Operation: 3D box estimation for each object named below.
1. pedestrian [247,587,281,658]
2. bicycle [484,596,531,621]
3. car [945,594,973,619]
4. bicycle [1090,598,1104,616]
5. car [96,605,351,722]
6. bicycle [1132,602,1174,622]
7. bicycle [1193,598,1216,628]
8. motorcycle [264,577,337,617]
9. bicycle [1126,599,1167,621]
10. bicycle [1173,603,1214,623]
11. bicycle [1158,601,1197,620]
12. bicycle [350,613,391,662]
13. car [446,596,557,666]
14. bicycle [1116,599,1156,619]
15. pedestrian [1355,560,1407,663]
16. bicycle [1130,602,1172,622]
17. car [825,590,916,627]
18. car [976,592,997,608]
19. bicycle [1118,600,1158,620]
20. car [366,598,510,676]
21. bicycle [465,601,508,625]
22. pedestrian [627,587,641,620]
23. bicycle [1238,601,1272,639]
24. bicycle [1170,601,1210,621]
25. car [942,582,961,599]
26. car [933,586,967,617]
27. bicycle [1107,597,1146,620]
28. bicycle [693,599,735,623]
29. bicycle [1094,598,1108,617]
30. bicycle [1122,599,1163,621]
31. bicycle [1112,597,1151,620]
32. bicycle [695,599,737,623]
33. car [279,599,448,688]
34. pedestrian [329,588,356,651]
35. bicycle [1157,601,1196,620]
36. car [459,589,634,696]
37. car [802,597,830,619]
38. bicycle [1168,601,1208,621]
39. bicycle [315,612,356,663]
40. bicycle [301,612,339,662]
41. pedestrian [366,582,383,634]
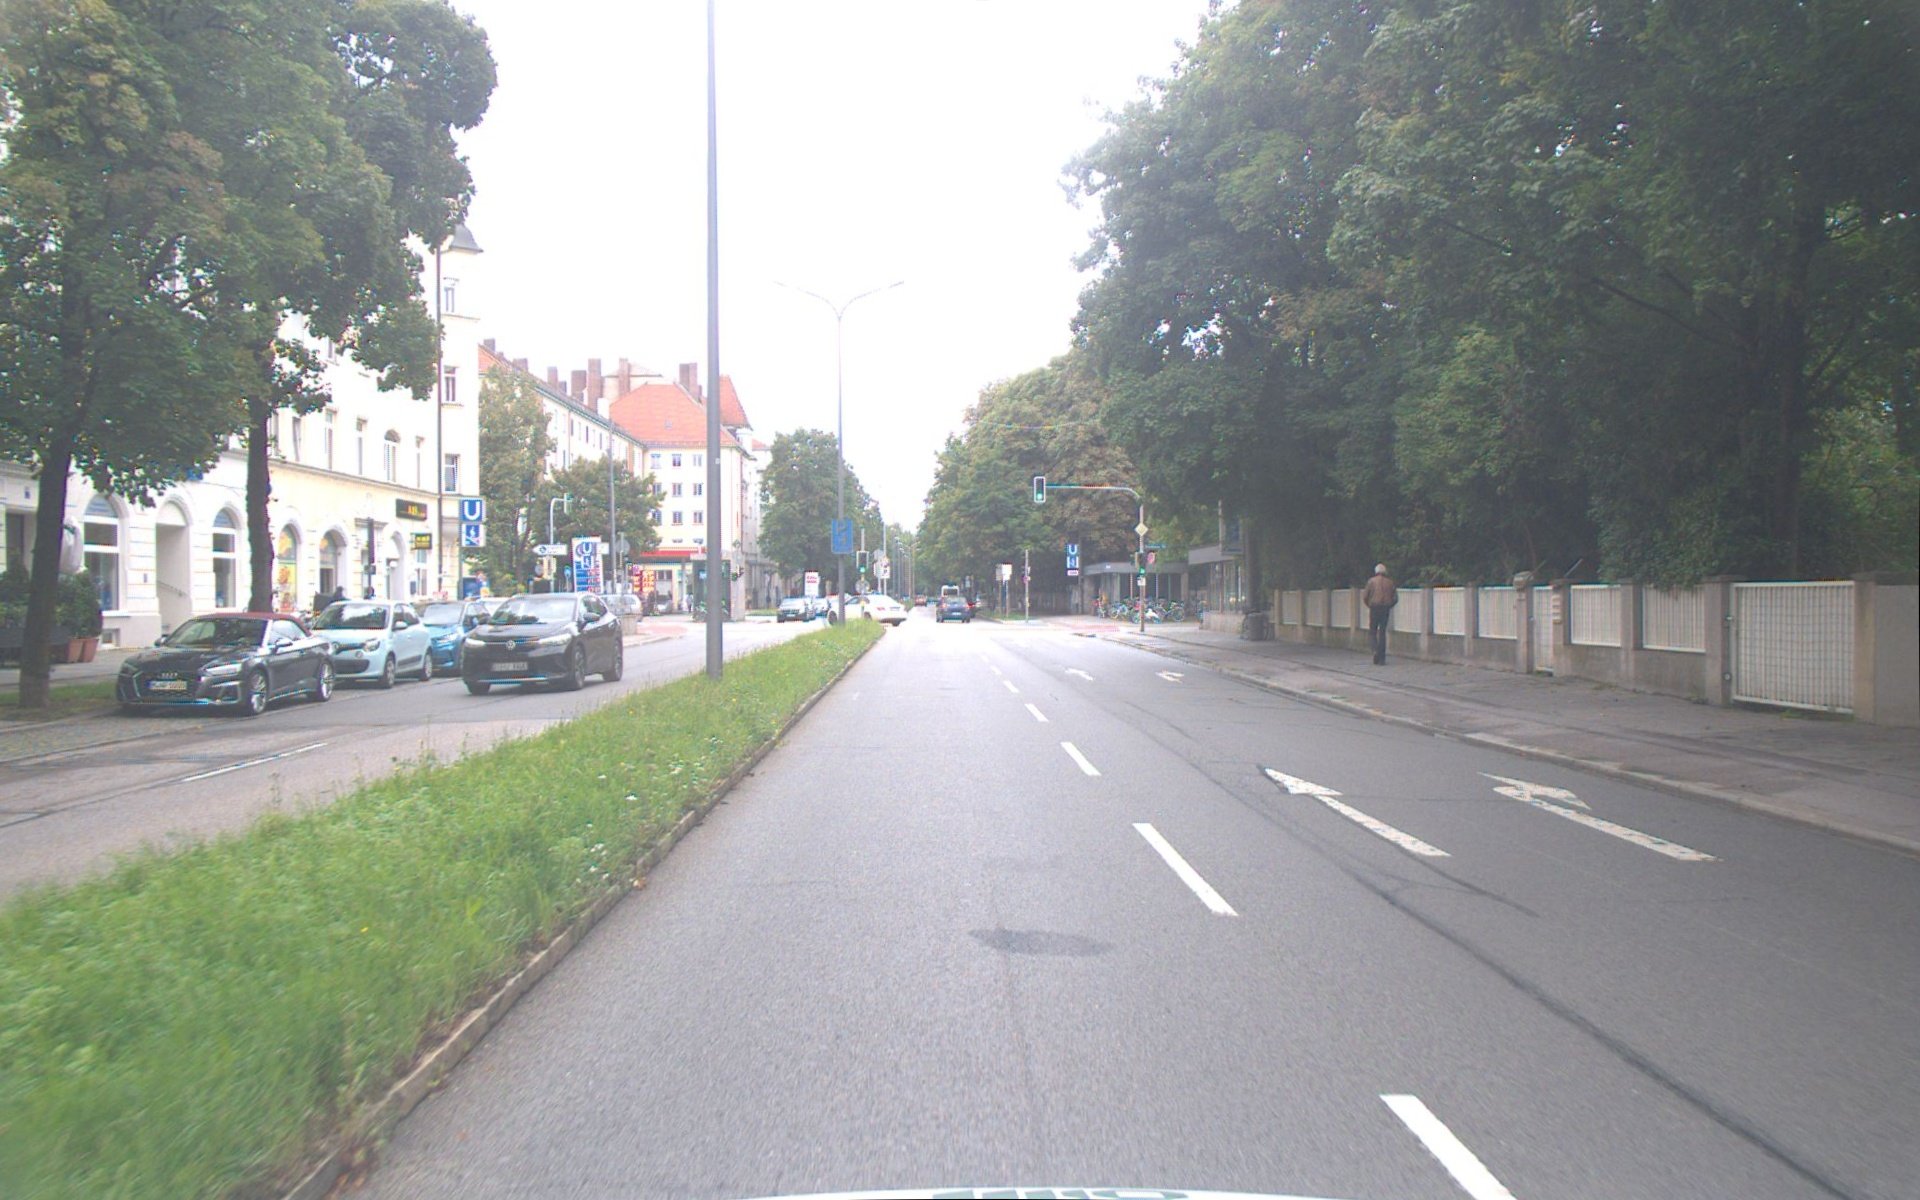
[{"bbox_3d":[-17.211,0.546,40.931,0.532,1.726,0.770,0,0,-3],"label":"pedestrian"},{"bbox_3d":[-24.238,0.472,88.630,2.352,1.273,0.789,1,-1,-12],"label":"bicycle"},{"bbox_3d":[-0.051,0.454,115.046,1.883,1.713,4.000,1,0,0],"label":"car"},{"bbox_3d":[7.996,0.377,96.760,0.545,1.032,2.014,0,0,-3],"label":"bicycle"},{"bbox_3d":[-10.724,0.857,24.497,1.774,1.533,4.644,0,0,-1],"label":"car"},{"bbox_3d":[9.992,0.607,85.612,2.097,1.032,0.634,0,0,7],"label":"bicycle"},{"bbox_3d":[9.457,0.502,64.066,0.587,1.141,1.889,0,-1,-1],"label":"bicycle"},{"bbox_3d":[-19.490,-0.071,48.920,0.598,1.150,1.978,0,-1,38],"label":"motorcycle"},{"bbox_3d":[9.757,0.525,86.412,2.097,1.089,0.603,0,0,7],"label":"bicycle"},{"bbox_3d":[12.133,0.660,85.963,2.097,1.032,0.634,0,0,7],"label":"bicycle"},{"bbox_3d":[11.910,0.579,90.684,2.097,1.032,0.634,0,0,7],"label":"bicycle"},{"bbox_3d":[-14.103,0.881,39.543,0.542,1.135,1.860,0,0,-32],"label":"bicycle"},{"bbox_3d":[-11.070,0.722,40.179,1.615,1.613,3.790,0,0,1],"label":"car"},{"bbox_3d":[9.410,0.481,88.504,2.097,1.105,0.603,0,0,7],"label":"bicycle"},{"bbox_3d":[8.245,0.225,32.442,0.762,1.976,0.802,-2,0,-1],"label":"pedestrian"},{"bbox_3d":[9.810,0.620,84.984,2.097,1.032,0.603,0,0,7],"label":"bicycle"},{"bbox_3d":[-4.340,0.390,79.217,1.771,1.675,4.705,0,0,-43],"label":"car"},{"bbox_3d":[2.315,0.028,147.449,1.708,1.387,3.805,0,0,-2],"label":"car"},{"bbox_3d":[9.465,0.517,87.775,2.097,1.032,0.603,0,0,7],"label":"bicycle"},{"bbox_3d":[-11.037,0.739,35.248,1.774,1.533,4.290,0,0,-1],"label":"car"},{"bbox_3d":[-25.137,0.686,87.881,2.141,1.257,0.764,0,0,-11],"label":"bicycle"},{"bbox_3d":[-17.107,0.160,86.786,0.523,1.725,0.577,0,0,7],"label":"pedestrian"},{"bbox_3d":[8.717,0.577,48.902,0.609,1.109,2.025,0,0,-1],"label":"bicycle"},{"bbox_3d":[12.065,0.561,86.759,2.097,1.032,0.634,0,0,7],"label":"bicycle"},{"bbox_3d":[-0.941,-1.021,176.196,1.953,1.787,3.999,0,0,-2],"label":"car"},{"bbox_3d":[-0.594,0.076,92.702,1.819,1.713,3.999,0,0,-2],"label":"car"},{"bbox_3d":[9.216,0.477,91.539,2.097,1.240,0.603,0,0,7],"label":"bicycle"},{"bbox_3d":[-13.734,0.610,92.405,2.225,1.327,0.704,0,0,0],"label":"bicycle"},{"bbox_3d":[8.003,0.413,94.027,0.545,1.032,2.014,0,0,-3],"label":"bicycle"},{"bbox_3d":[9.608,0.510,87.064,2.097,1.120,0.603,0,0,7],"label":"bicycle"},{"bbox_3d":[9.266,0.456,89.238,2.097,1.199,0.603,0,0,7],"label":"bicycle"},{"bbox_3d":[-13.726,0.597,93.185,2.238,1.327,0.694,0,0,0],"label":"bicycle"},{"bbox_3d":[-11.009,0.763,30.828,1.774,1.533,3.959,0,0,-1],"label":"car"},{"bbox_3d":[-17.321,0.540,46.382,0.585,1.726,0.937,0,0,-29],"label":"pedestrian"},{"bbox_3d":[11.769,0.570,89.892,2.097,1.032,0.634,0,0,7],"label":"bicycle"},{"bbox_3d":[-6.970,0.657,28.398,1.837,1.612,4.619,-3,0,-1],"label":"car"},{"bbox_3d":[-10.276,0.548,118.286,1.724,1.486,3.999,0,0,-2],"label":"car"},{"bbox_3d":[12.054,0.566,87.527,2.097,1.032,0.634,0,0,7],"label":"bicycle"},{"bbox_3d":[-14.712,0.868,38.933,0.498,1.135,1.966,0,0,-32],"label":"bicycle"},{"bbox_3d":[-14.862,0.844,38.385,0.453,1.135,1.944,0,0,-32],"label":"bicycle"},{"bbox_3d":[-18.727,0.256,52.927,0.414,1.660,0.780,0,0,-13],"label":"pedestrian"}]
